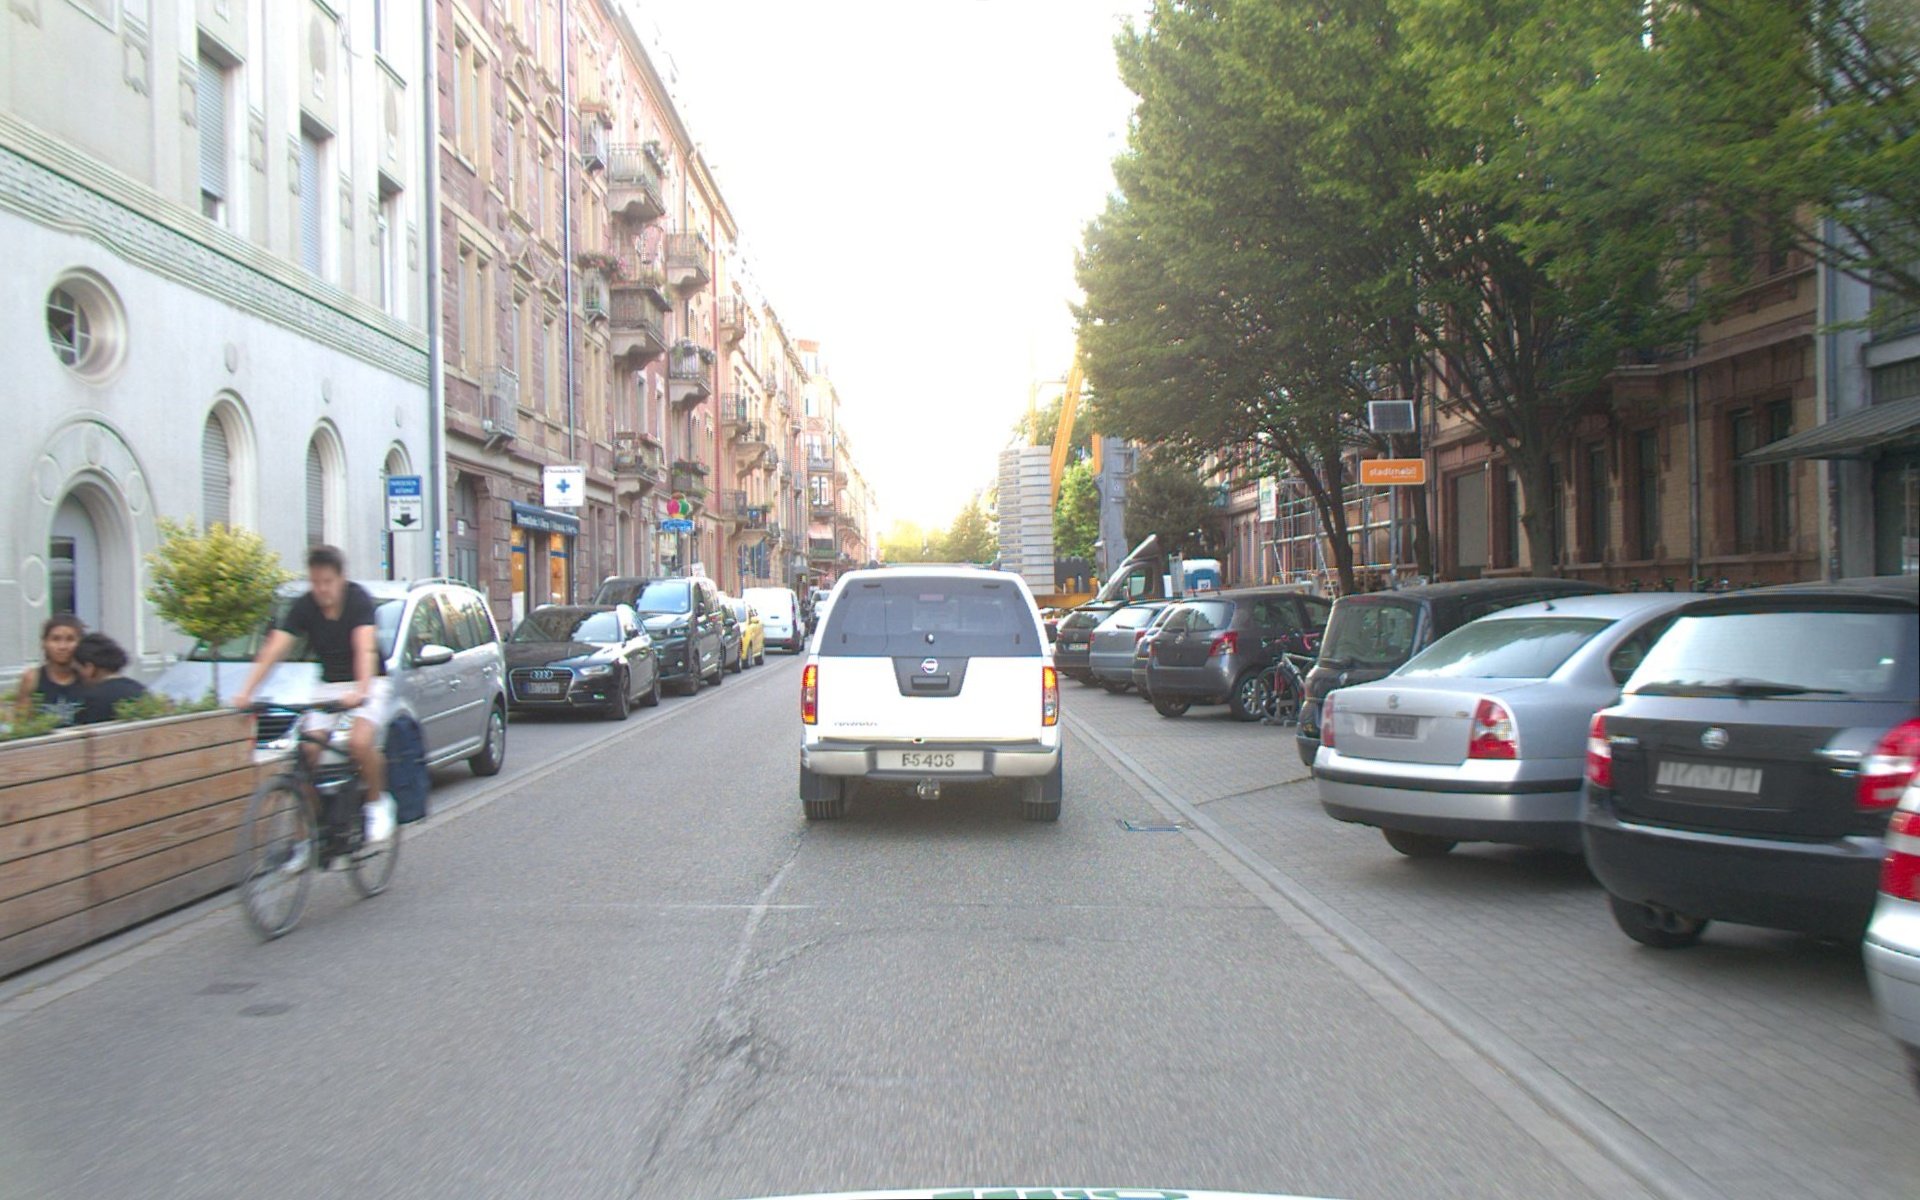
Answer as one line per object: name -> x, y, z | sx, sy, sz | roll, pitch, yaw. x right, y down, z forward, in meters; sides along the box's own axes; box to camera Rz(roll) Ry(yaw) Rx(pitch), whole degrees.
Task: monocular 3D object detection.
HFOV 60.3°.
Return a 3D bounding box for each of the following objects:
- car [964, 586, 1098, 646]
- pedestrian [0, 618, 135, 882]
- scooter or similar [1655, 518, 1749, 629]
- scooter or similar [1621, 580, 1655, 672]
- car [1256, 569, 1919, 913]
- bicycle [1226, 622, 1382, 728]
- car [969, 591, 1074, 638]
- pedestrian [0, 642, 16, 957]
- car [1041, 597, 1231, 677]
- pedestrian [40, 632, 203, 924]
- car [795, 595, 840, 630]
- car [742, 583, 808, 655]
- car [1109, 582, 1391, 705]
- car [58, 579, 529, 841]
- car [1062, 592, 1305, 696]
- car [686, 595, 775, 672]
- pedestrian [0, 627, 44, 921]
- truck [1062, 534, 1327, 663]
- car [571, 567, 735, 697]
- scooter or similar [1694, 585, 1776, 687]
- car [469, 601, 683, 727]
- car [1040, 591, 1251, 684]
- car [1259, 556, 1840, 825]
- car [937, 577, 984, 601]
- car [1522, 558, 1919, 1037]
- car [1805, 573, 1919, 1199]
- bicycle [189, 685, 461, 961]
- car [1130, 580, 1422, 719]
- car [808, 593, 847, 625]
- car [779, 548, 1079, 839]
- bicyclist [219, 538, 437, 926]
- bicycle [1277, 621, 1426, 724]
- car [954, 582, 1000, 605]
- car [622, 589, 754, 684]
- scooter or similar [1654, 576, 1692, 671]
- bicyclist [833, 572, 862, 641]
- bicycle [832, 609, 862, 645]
car -> 2.249, 0.489, 51.718 | 4.107, 1.811, 1.820 | 0, 0, 4
pedestrian -> -4.844, 0.788, 8.945 | 0.506, 1.374, 0.540 | -1, 0, -4
scooter or similar -> 8.969, -0.308, 20.044 | 0.457, 1.238, 1.777 | -8, -1, 10
scooter or similar -> 9.701, 0.350, 23.672 | 0.361, 1.239, 1.620 | -4, -1, 22
car -> 4.015, 0.645, 9.533 | 4.318, 1.561, 1.792 | -2, 0, -26
bicycle -> 3.883, 0.837, 18.812 | 0.684, 1.127, 1.839 | 0, -2, -30
car -> 2.439, 0.562, 65.807 | 4.108, 1.811, 1.820 | 0, 0, 1
pedestrian -> -4.405, 0.860, 6.817 | 0.597, 1.348, 0.770 | -1, 0, -3
car -> 3.479, 0.694, 32.559 | 3.515, 1.490, 1.593 | 0, 0, -33
pedestrian -> -4.150, 0.854, 8.219 | 0.474, 1.374, 0.669 | -1, 0, -3
car -> -6.536, 0.538, 76.015 | 1.755, 1.557, 3.999 | 0, 0, -1
car -> -5.216, 0.514, 47.023 | 1.528, 1.955, 3.855 | 1, 0, -2
car -> 4.269, 0.609, 24.347 | 3.780, 1.557, 1.747 | -3, 0, -27
car -> -4.799, 0.695, 12.683 | 1.953, 1.619, 4.312 | -1, 0, -2
car -> 3.695, 0.676, 27.113 | 3.795, 1.462, 1.740 | -3, 1, -36
car -> -5.202, 0.725, 37.900 | 1.468, 1.621, 3.856 | -1, 0, 0
pedestrian -> -4.756, 0.824, 7.873 | 0.459, 1.374, 0.610 | -1, 0, -3
truck -> 5.686, 0.010, 40.754 | 6.191, 3.029, 2.264 | 0, -3, 0
car -> -4.989, 0.486, 27.580 | 1.866, 1.959, 4.946 | 0, 0, -1
scooter or similar -> 10.024, 0.440, 21.443 | 0.403, 1.239, 1.777 | -6, -1, 10
car -> -4.940, 0.759, 21.914 | 1.873, 1.497, 4.532 | 0, 0, -2
car -> 3.366, 0.629, 29.701 | 3.859, 1.557, 1.613 | 0, 0, -41
car -> 4.429, 0.583, 12.471 | 3.931, 1.665, 1.747 | -2, 0, -21
car -> 0.053, -1.052, 159.745 | 4.493, 2.215, 1.820 | 0, 0, 1
car -> 4.226, 0.612, 6.976 | 3.555, 1.561, 1.547 | -2, 0, -30
car -> 4.114, 0.642, 4.332 | 3.555, 1.508, 1.706 | -2, 0, -29
bicycle -> -2.993, 0.998, 8.000 | 0.602, 1.058, 1.903 | -1, 0, -1
car -> 4.032, 0.573, 21.028 | 3.365, 1.500, 1.755 | -3, 1, -33
car -> -6.515, 0.433, 81.707 | 1.675, 1.557, 3.999 | 0, 0, -2
car -> -0.137, 0.591, 12.831 | 1.893, 1.826, 4.623 | 1, 0, 2
bicyclist -> -2.997, 0.585, 7.940 | 0.590, 1.714, 1.142 | -1, 0, -1
bicycle -> 4.490, 0.825, 19.116 | 0.551, 1.127, 1.839 | 0, -2, -30
car -> 1.683, -0.676, 163.390 | 4.493, 2.215, 1.820 | 0, 0, 1
car -> -5.243, 0.663, 32.327 | 1.866, 1.692, 4.067 | -1, 0, 0
scooter or similar -> 9.770, 0.301, 22.688 | 0.361, 1.239, 1.703 | -4, -1, 22
bicyclist -> -3.114, 0.185, 45.694 | 0.784, 1.882, 0.943 | 0, 0, -4
bicycle -> -3.114, 0.740, 45.728 | 0.784, 0.963, 2.003 | 0, 0, -3
